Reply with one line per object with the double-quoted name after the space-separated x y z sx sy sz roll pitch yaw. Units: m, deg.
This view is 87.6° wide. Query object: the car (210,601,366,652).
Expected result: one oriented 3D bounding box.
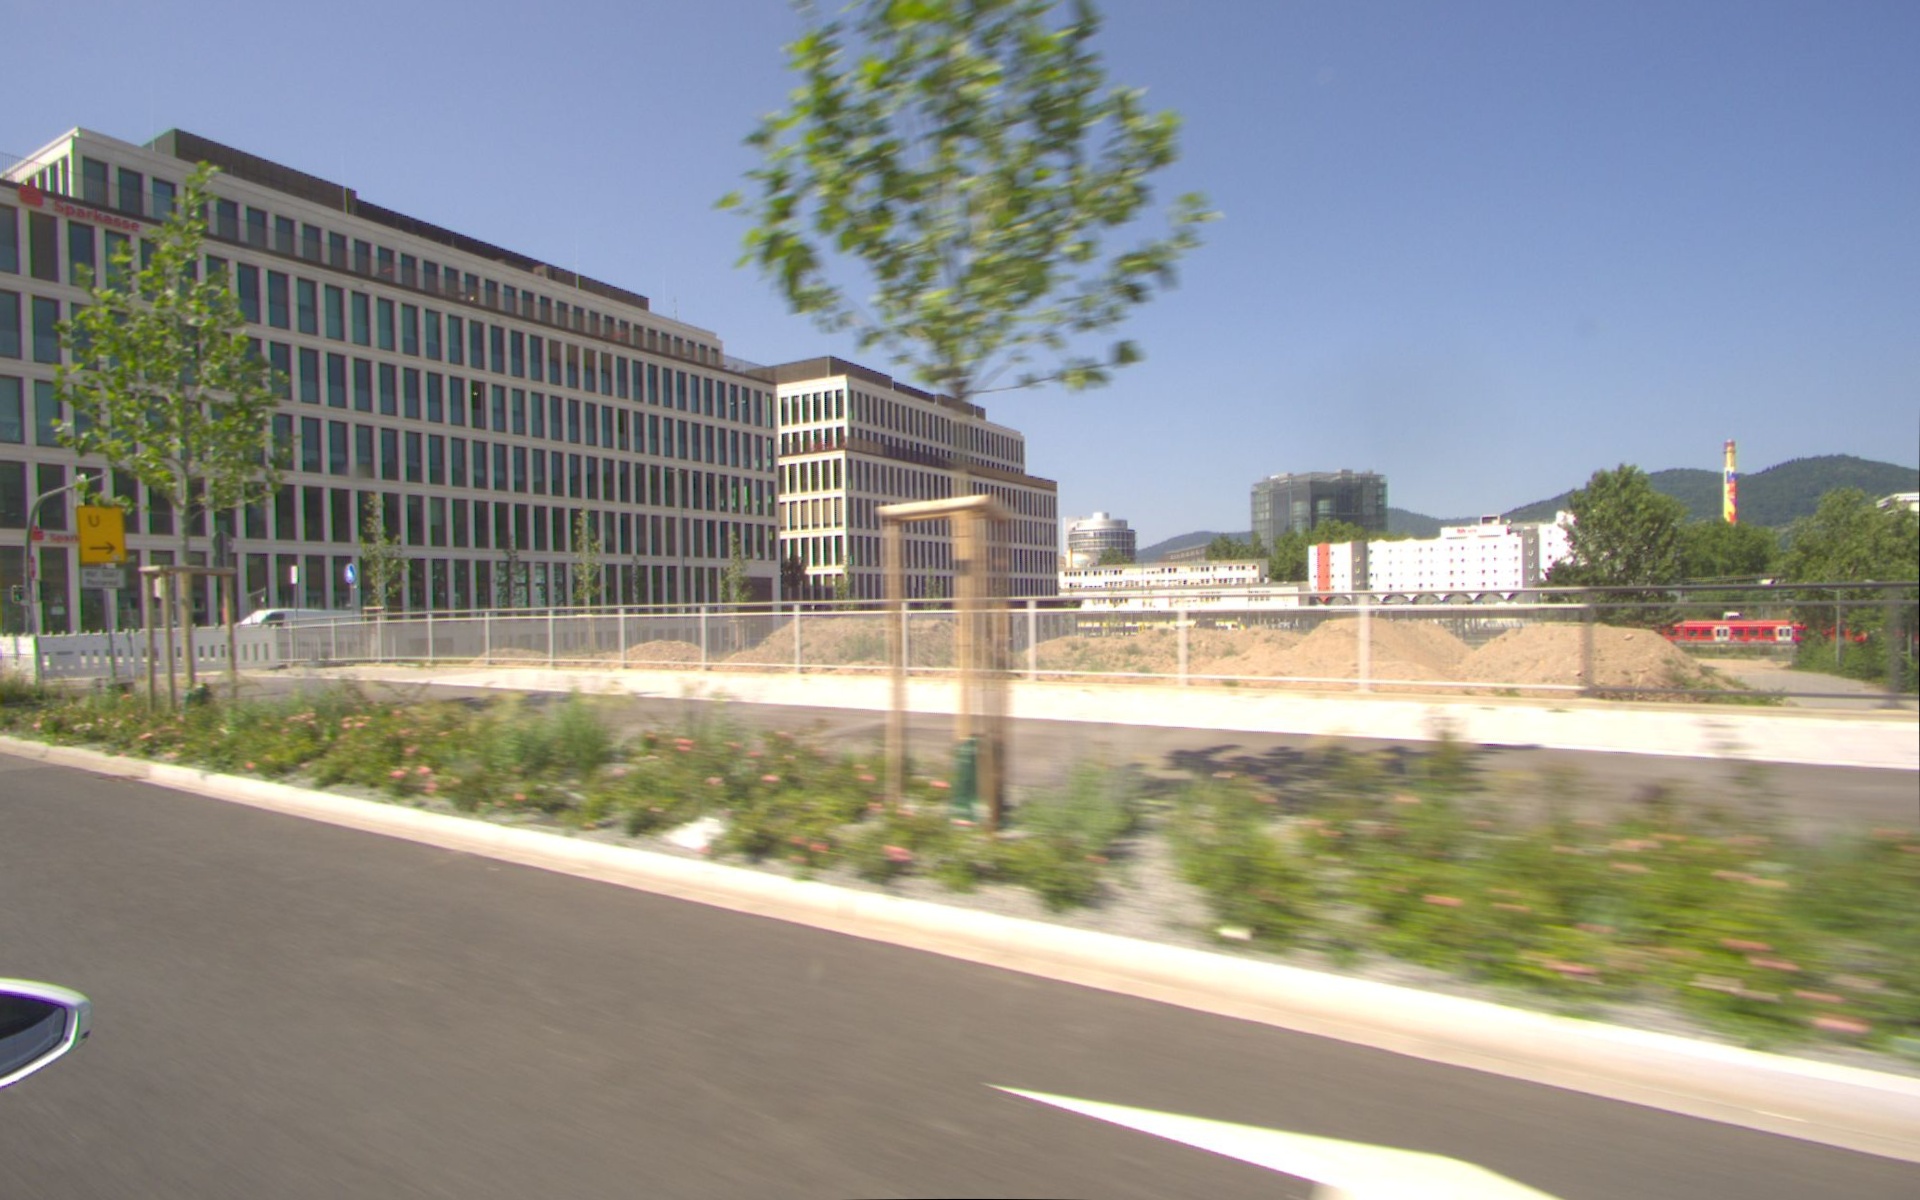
-31.982 1.319 47.848 2.116 2.299 5.826 0 -2 33 "car"
